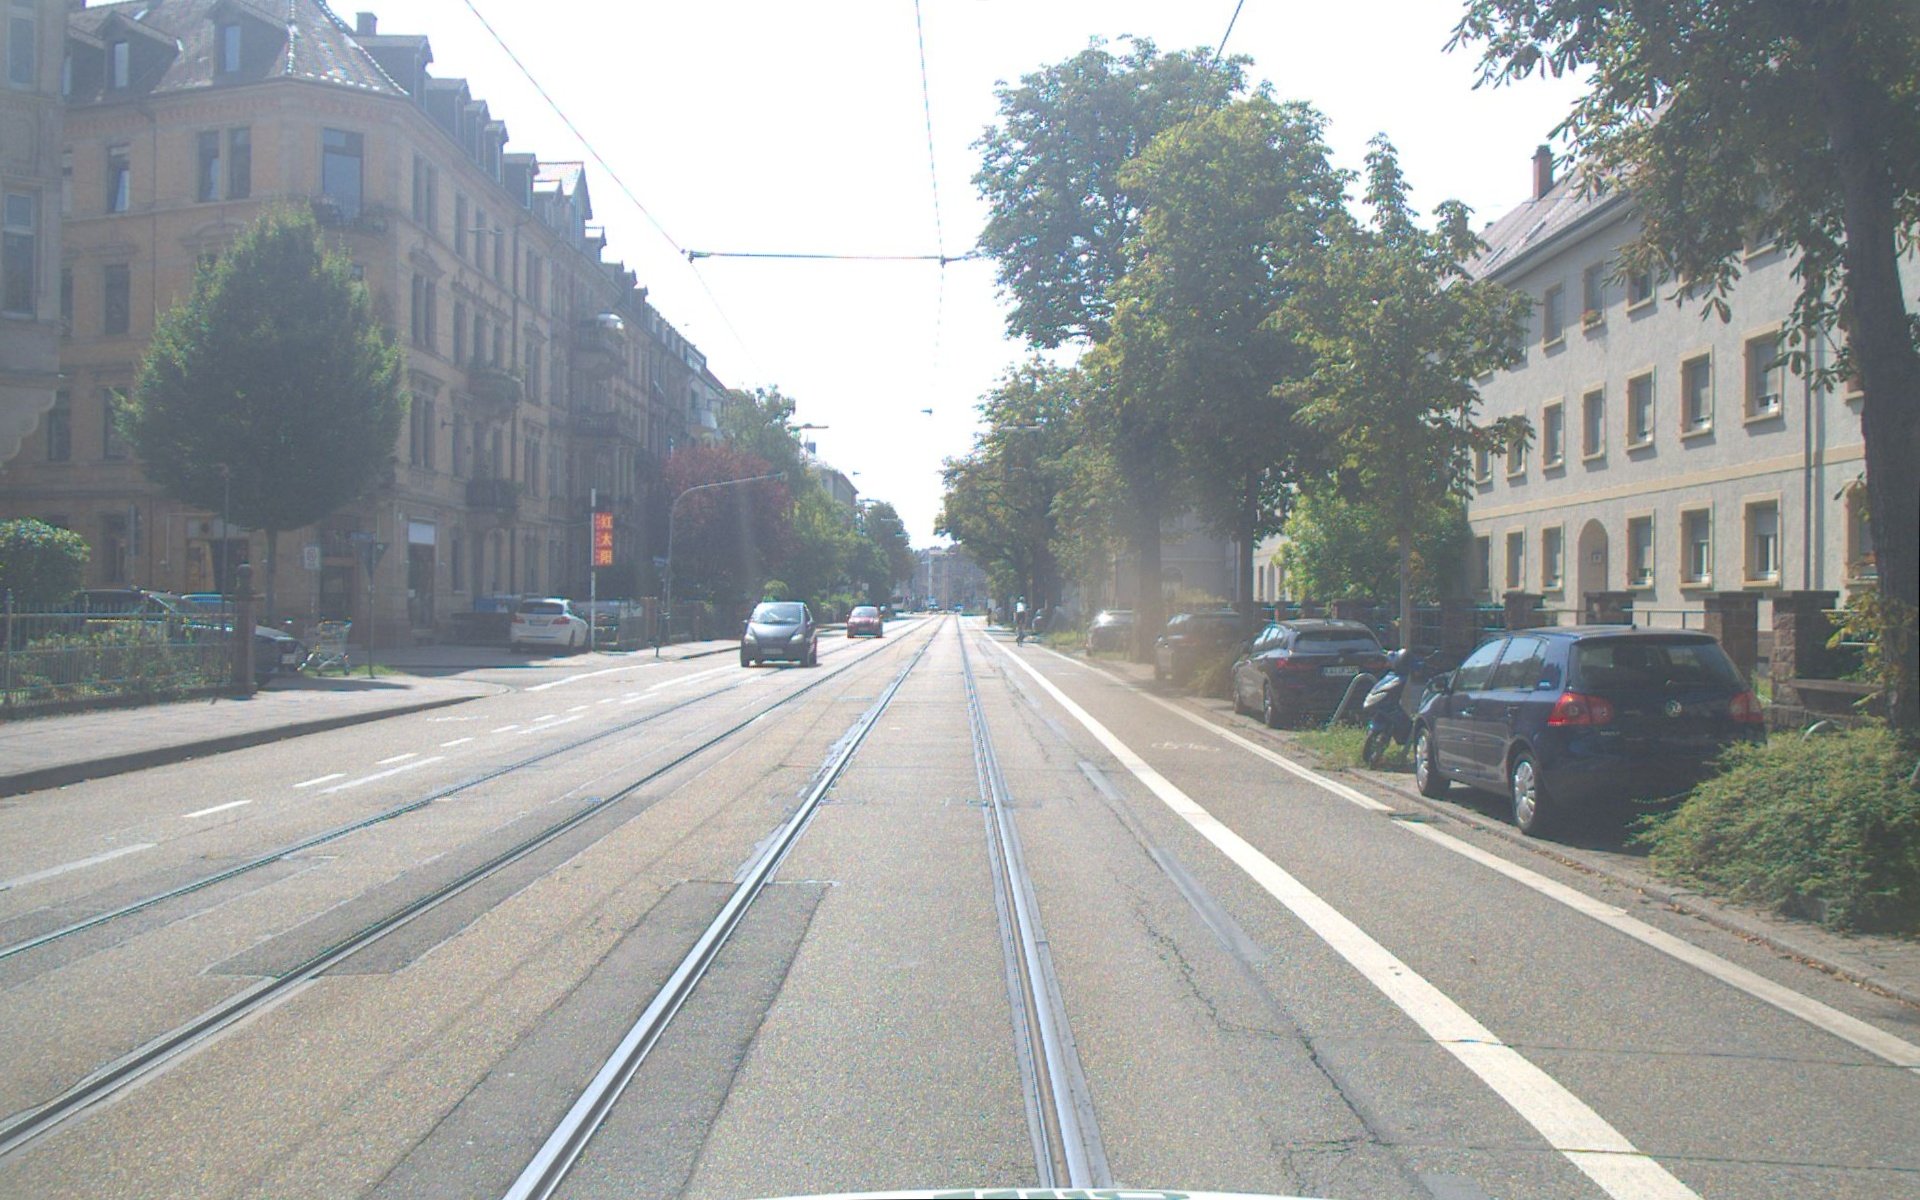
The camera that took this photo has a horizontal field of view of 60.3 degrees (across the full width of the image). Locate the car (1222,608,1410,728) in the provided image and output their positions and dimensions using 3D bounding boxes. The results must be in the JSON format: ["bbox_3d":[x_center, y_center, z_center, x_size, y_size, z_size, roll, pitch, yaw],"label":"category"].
[{"bbox_3d":[5.067,0.920,24.155,1.720,1.503,4.457,-3,0,0],"label":"car"}]

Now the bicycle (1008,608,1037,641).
[{"bbox_3d":[2.550,0.994,68.034,1.124,1.291,2.712,0,0,1],"label":"bicycle"}]

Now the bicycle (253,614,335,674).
[{"bbox_3d":[-12.794,0.842,31.793,1.427,1.118,0.388,1,0,-23],"label":"bicycle"}]

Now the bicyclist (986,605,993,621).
[{"bbox_3d":[2.434,1.047,136.852,0.567,1.301,0.471,1,-1,2],"label":"bicyclist"}]

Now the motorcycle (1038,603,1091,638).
[{"bbox_3d":[4.816,0.956,76.119,2.304,1.567,0.963,-3,-3,41],"label":"motorcycle"}]

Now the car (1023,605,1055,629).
[{"bbox_3d":[5.167,1.096,108.840,1.803,1.559,4.779,-1,0,-1],"label":"car"}]

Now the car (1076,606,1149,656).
[{"bbox_3d":[4.838,0.952,52.966,1.854,1.503,4.839,0,0,-1],"label":"car"}]

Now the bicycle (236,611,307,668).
[{"bbox_3d":[-13.950,0.794,33.545,0.381,1.118,1.450,1,0,25],"label":"bicycle"}]

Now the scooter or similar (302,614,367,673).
[{"bbox_3d":[-12.520,0.866,33.134,0.583,1.118,1.390,1,0,10],"label":"scooter or similar"}]

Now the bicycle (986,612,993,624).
[{"bbox_3d":[2.429,1.460,136.843,0.575,0.955,2.172,1,-1,2],"label":"bicycle"}]

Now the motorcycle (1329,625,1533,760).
[{"bbox_3d":[5.025,0.978,17.726,1.963,1.392,0.782,0,0,-3],"label":"motorcycle"}]

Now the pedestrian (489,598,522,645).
[{"bbox_3d":[-15.321,0.717,55.792,0.874,1.537,0.861,1,0,-31],"label":"pedestrian"}]

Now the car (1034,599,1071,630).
[{"bbox_3d":[5.099,0.777,91.717,1.803,1.559,4.115,0,1,-1],"label":"car"}]

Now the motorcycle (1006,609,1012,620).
[{"bbox_3d":[4.823,1.399,161.834,0.537,1.086,2.330,1,-1,0],"label":"motorcycle"}]

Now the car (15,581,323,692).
[{"bbox_3d":[-12.690,0.565,26.712,4.017,1.622,1.879,1,0,1],"label":"car"}]

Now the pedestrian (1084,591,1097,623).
[{"bbox_3d":[7.951,0.448,100.698,0.692,1.925,0.714,1,-1,1],"label":"pedestrian"}]

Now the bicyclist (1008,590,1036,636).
[{"bbox_3d":[2.548,0.524,68.053,1.102,1.869,0.956,1,-1,0],"label":"bicyclist"}]

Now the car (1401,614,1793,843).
[{"bbox_3d":[4.887,0.893,13.311,1.584,1.503,4.039,-1,0,0],"label":"car"}]

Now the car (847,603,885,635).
[{"bbox_3d":[-4.679,0.932,82.691,1.696,1.516,3.999,0,0,-1],"label":"car"}]

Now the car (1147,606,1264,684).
[{"bbox_3d":[5.044,0.886,34.540,1.720,1.503,4.385,0,0,-1],"label":"car"}]

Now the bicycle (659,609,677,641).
[{"bbox_3d":[-10.356,0.881,58.689,0.382,1.118,1.568,1,0,-2],"label":"bicycle"}]

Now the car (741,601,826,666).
[{"bbox_3d":[-4.438,0.808,42.044,1.790,1.567,3.999,0,0,-1],"label":"car"}]

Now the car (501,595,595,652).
[{"bbox_3d":[-12.212,0.671,49.279,1.954,1.622,4.356,0,0,-4],"label":"car"}]
